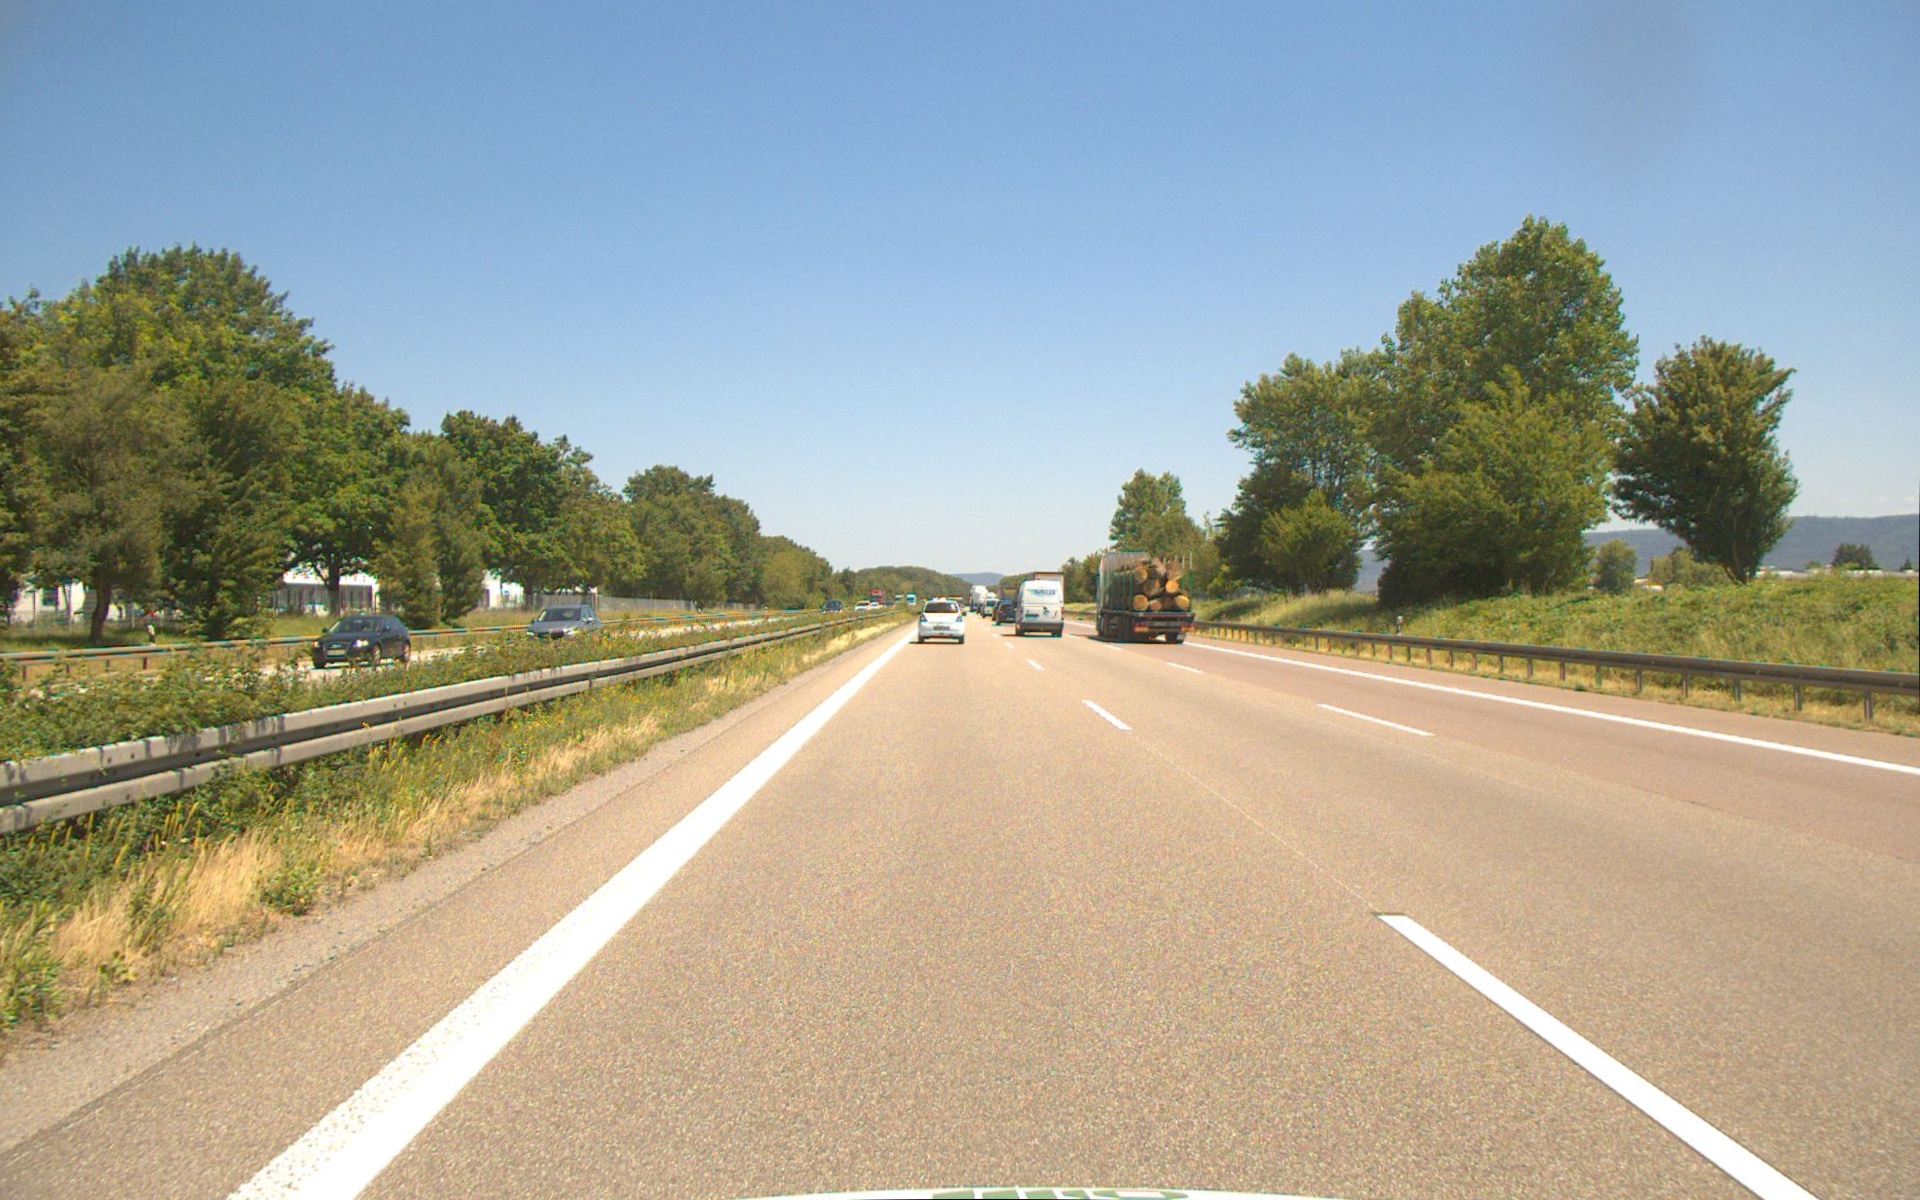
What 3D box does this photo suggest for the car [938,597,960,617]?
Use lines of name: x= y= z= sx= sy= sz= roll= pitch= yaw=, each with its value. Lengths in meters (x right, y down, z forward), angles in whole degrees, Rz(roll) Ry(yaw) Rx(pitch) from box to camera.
car: x=-0.988 y=0.621 z=146.883 sx=1.819 sy=1.681 sz=3.998 roll=1 pitch=0 yaw=-2

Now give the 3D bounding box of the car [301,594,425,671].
car: x=-16.935 y=0.892 z=47.148 sx=1.953 sy=2.049 sz=4.271 roll=2 pitch=0 yaw=-1

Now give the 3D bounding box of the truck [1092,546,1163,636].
truck: x=7.876 y=-0.402 z=78.605 sx=2.615 sy=4.064 sz=6.635 roll=1 pitch=0 yaw=0

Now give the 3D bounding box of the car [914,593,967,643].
car: x=-0.742 y=0.636 z=60.016 sx=1.820 sy=1.681 sz=3.998 roll=2 pitch=0 yaw=-2

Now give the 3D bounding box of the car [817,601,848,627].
car: x=-9.800 y=1.079 z=127.257 sx=1.953 sy=1.919 sz=5.647 roll=2 pitch=0 yaw=0

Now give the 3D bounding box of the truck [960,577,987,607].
truck: x=2.000 y=-1.139 z=252.194 sx=3.192 sy=4.282 sz=16.834 roll=2 pitch=0 yaw=-3

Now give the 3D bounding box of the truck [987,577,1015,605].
truck: x=6.393 y=-1.347 z=263.136 sx=3.192 sy=4.282 sz=16.834 roll=2 pitch=0 yaw=-3

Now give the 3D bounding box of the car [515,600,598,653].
car: x=-13.091 y=0.837 z=53.854 sx=1.756 sy=1.606 sz=4.210 roll=-1 pitch=0 yaw=-2

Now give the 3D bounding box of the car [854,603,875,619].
car: x=-10.451 y=1.218 z=181.638 sx=1.953 sy=1.668 sz=4.572 roll=2 pitch=0 yaw=0

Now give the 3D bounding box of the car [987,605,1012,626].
car: x=3.238 y=1.291 z=136.372 sx=1.819 sy=1.681 sz=3.998 roll=1 pitch=0 yaw=-2

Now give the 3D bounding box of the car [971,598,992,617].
car: x=2.031 y=0.711 z=156.905 sx=1.819 sy=1.681 sz=3.998 roll=1 pitch=0 yaw=-2

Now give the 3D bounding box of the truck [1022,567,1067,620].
truck: x=7.283 y=-0.518 z=144.170 sx=3.016 sy=4.282 sz=16.843 roll=2 pitch=0 yaw=0

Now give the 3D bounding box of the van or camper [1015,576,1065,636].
van or camper: x=3.688 y=0.261 z=77.126 sx=2.016 sy=2.668 sz=5.984 roll=1 pitch=0 yaw=0

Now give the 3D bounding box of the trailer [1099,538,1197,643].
trailer: x=7.901 y=-0.369 z=71.288 sx=2.599 sy=4.028 sz=13.635 roll=1 pitch=0 yaw=0

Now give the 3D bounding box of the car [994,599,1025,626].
car: x=3.261 y=0.826 z=109.465 sx=1.819 sy=1.681 sz=3.998 roll=1 pitch=0 yaw=-2
